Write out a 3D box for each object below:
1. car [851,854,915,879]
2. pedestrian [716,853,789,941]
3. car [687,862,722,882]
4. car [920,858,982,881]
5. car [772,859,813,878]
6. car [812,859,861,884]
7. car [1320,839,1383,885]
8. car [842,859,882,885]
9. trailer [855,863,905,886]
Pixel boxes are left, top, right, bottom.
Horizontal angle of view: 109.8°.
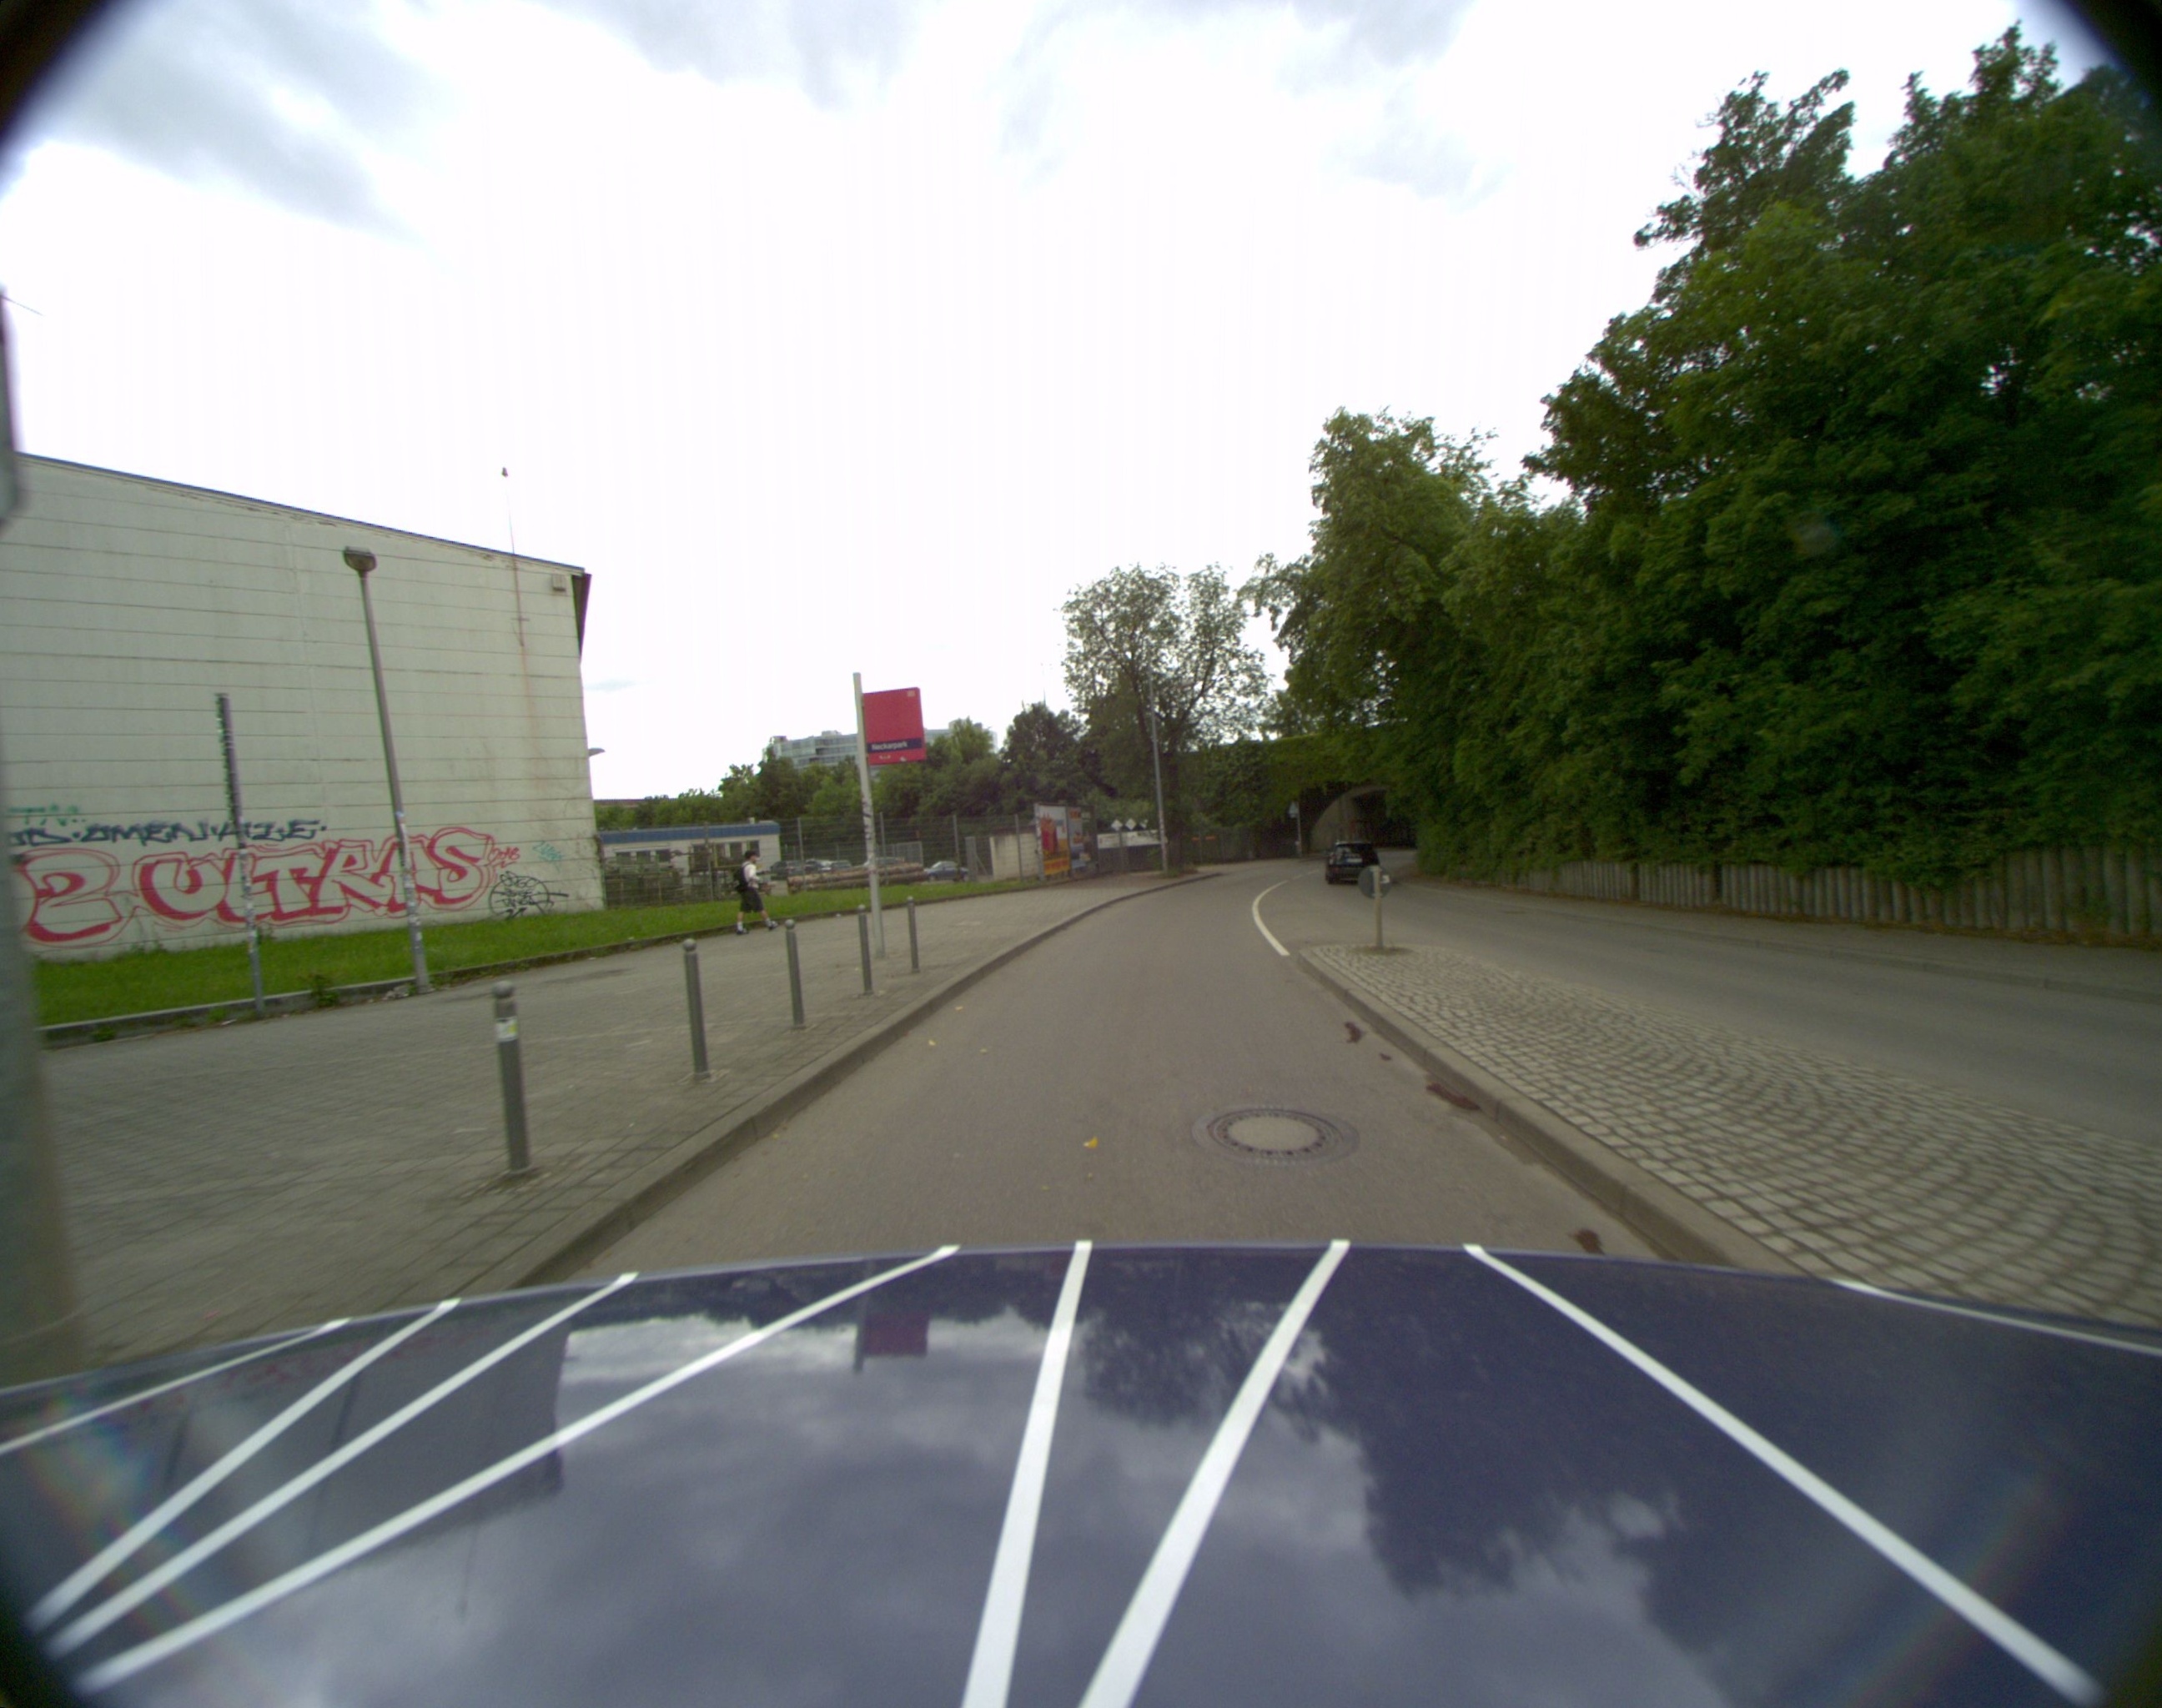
[{"bbox_3d":[-13.268,0.783,50.963,3.818,1.523,1.561,-2,1,-39],"label":"car"},{"bbox_3d":[-6.754,0.862,15.650,0.848,1.675,0.941,-1,4,37],"label":"pedestrian"},{"bbox_3d":[-26.676,1.305,53.797,1.340,1.324,3.302,-3,1,-40],"label":"car"},{"bbox_3d":[-7.772,0.923,45.542,3.377,1.245,1.467,-1,1,-39],"label":"car"},{"bbox_3d":[-21.618,1.082,56.913,1.533,1.324,3.673,-3,1,-44],"label":"car"},{"bbox_3d":[-15.175,1.092,47.019,1.810,1.369,3.789,-5,2,-34],"label":"car"},{"bbox_3d":[10.070,0.244,28.559,1.805,1.601,4.180,-1,1,14],"label":"car"},{"bbox_3d":[-12.738,1.030,44.105,1.374,1.432,2.847,-3,1,-34],"label":"car"},{"bbox_3d":[-11.100,1.120,41.911,1.852,1.131,2.633,-4,1,-35],"label":"trailer"}]
